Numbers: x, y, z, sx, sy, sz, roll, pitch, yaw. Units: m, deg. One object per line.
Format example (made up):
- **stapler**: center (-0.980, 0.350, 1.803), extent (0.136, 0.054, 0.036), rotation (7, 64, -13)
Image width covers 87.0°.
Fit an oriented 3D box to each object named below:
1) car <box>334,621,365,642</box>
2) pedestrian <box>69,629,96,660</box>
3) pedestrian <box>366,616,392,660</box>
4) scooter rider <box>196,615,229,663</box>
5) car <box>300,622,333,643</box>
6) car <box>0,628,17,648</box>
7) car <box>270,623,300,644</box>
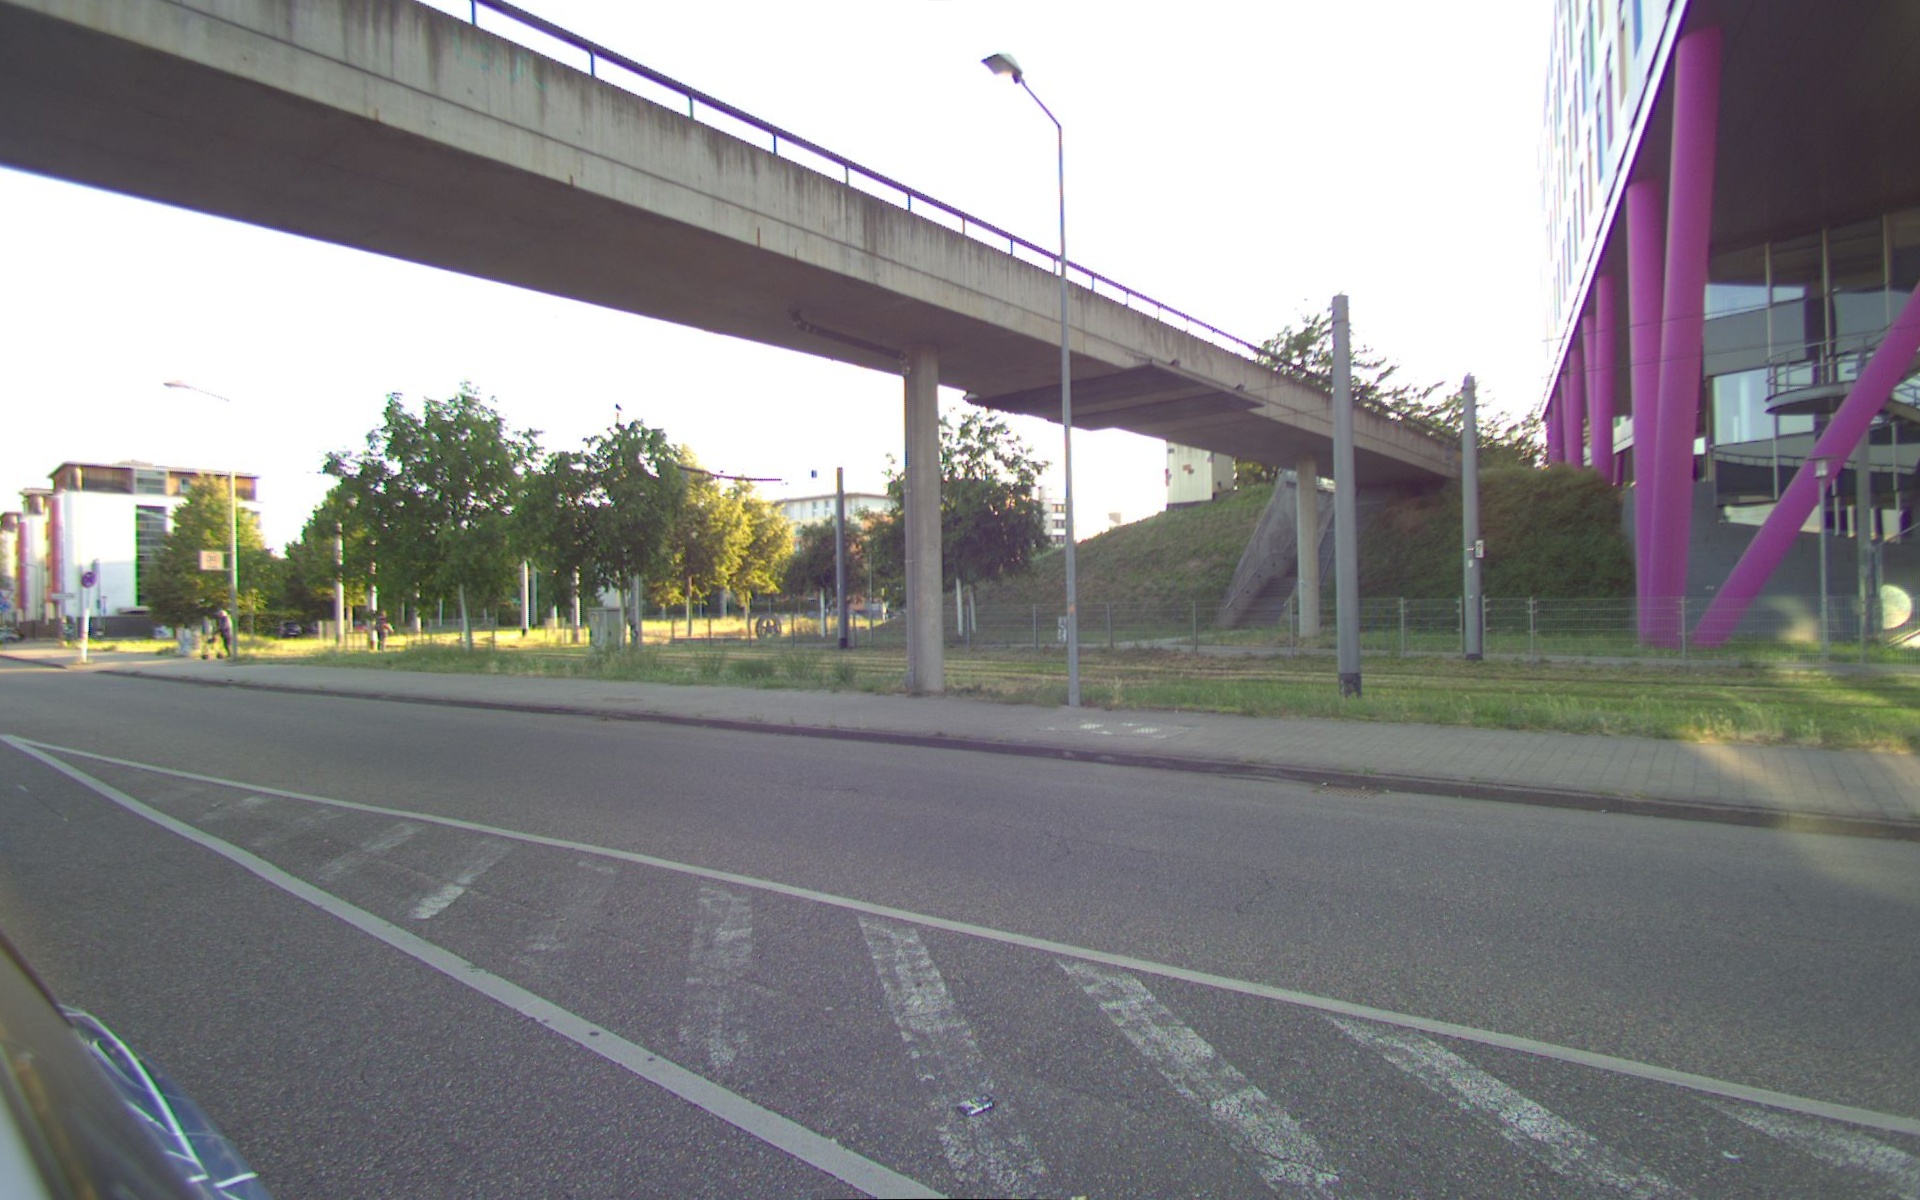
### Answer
- **car**: center (-53.572, 2.751, 88.783), extent (1.842, 1.734, 3.853), rotation (-1, -1, -38)
- **pedestrian**: center (-59.078, 3.012, 68.149), extent (1.072, 2.029, 1.143), rotation (-1, 0, -20)
- **pedestrian**: center (-22.035, 1.447, 38.377), extent (0.767, 1.623, 0.417), rotation (-1, -1, -38)
- **scooter rider**: center (-25.480, 1.323, 34.494), extent (0.884, 1.589, 0.713), rotation (-1, -1, -39)
- **car**: center (-55.371, 2.775, 87.058), extent (1.843, 1.734, 3.851), rotation (-1, -1, -40)
- **car**: center (-80.760, 3.164, 83.413), extent (1.839, 1.571, 4.330), rotation (-1, 0, 42)
- **car**: center (-57.082, 2.804, 85.555), extent (1.842, 1.734, 3.853), rotation (-1, -1, -38)
